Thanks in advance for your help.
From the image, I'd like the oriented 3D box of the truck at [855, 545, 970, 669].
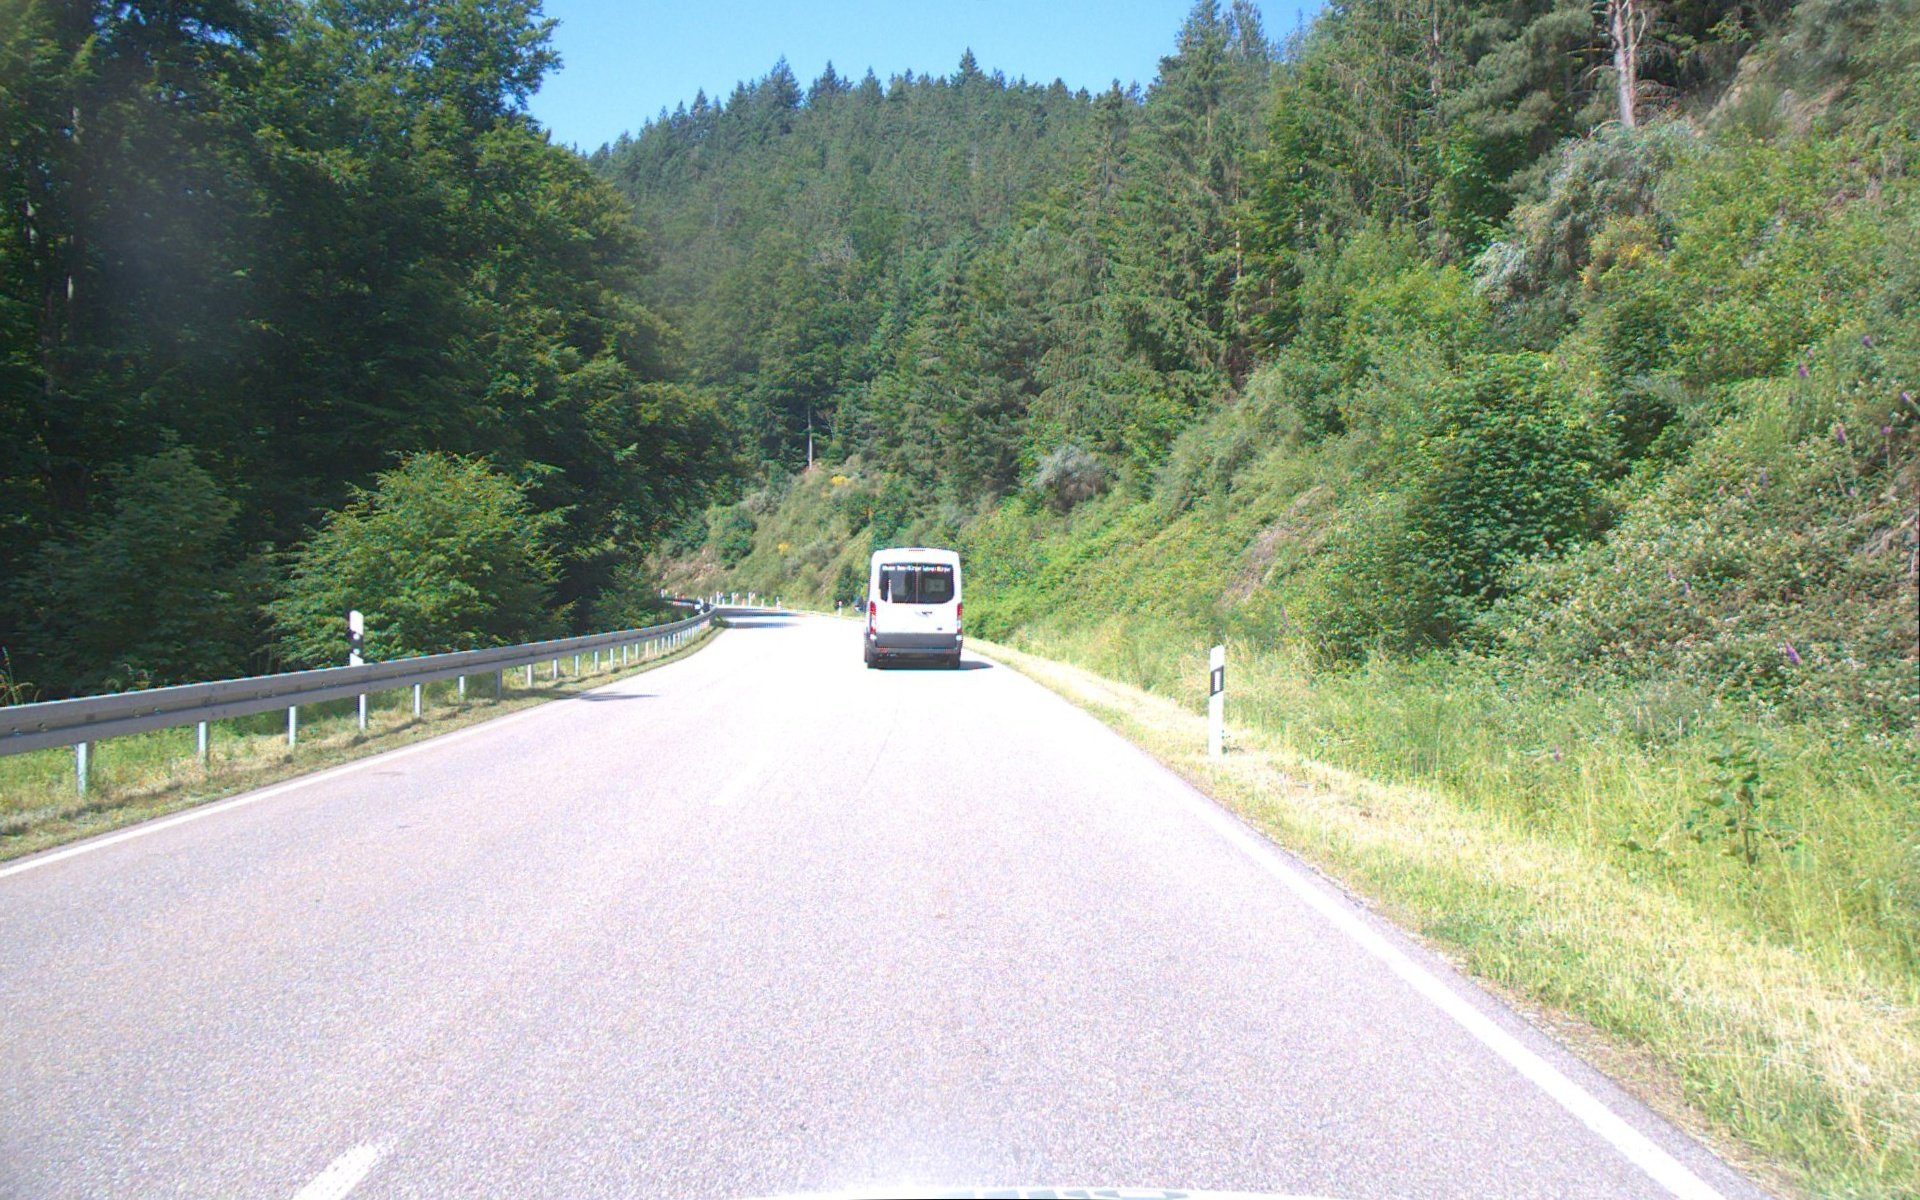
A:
[{"bbox_3d":[-1.107,0.131,35.915,2.044,2.502,4.868,1,0,-7],"label":"truck"}]
